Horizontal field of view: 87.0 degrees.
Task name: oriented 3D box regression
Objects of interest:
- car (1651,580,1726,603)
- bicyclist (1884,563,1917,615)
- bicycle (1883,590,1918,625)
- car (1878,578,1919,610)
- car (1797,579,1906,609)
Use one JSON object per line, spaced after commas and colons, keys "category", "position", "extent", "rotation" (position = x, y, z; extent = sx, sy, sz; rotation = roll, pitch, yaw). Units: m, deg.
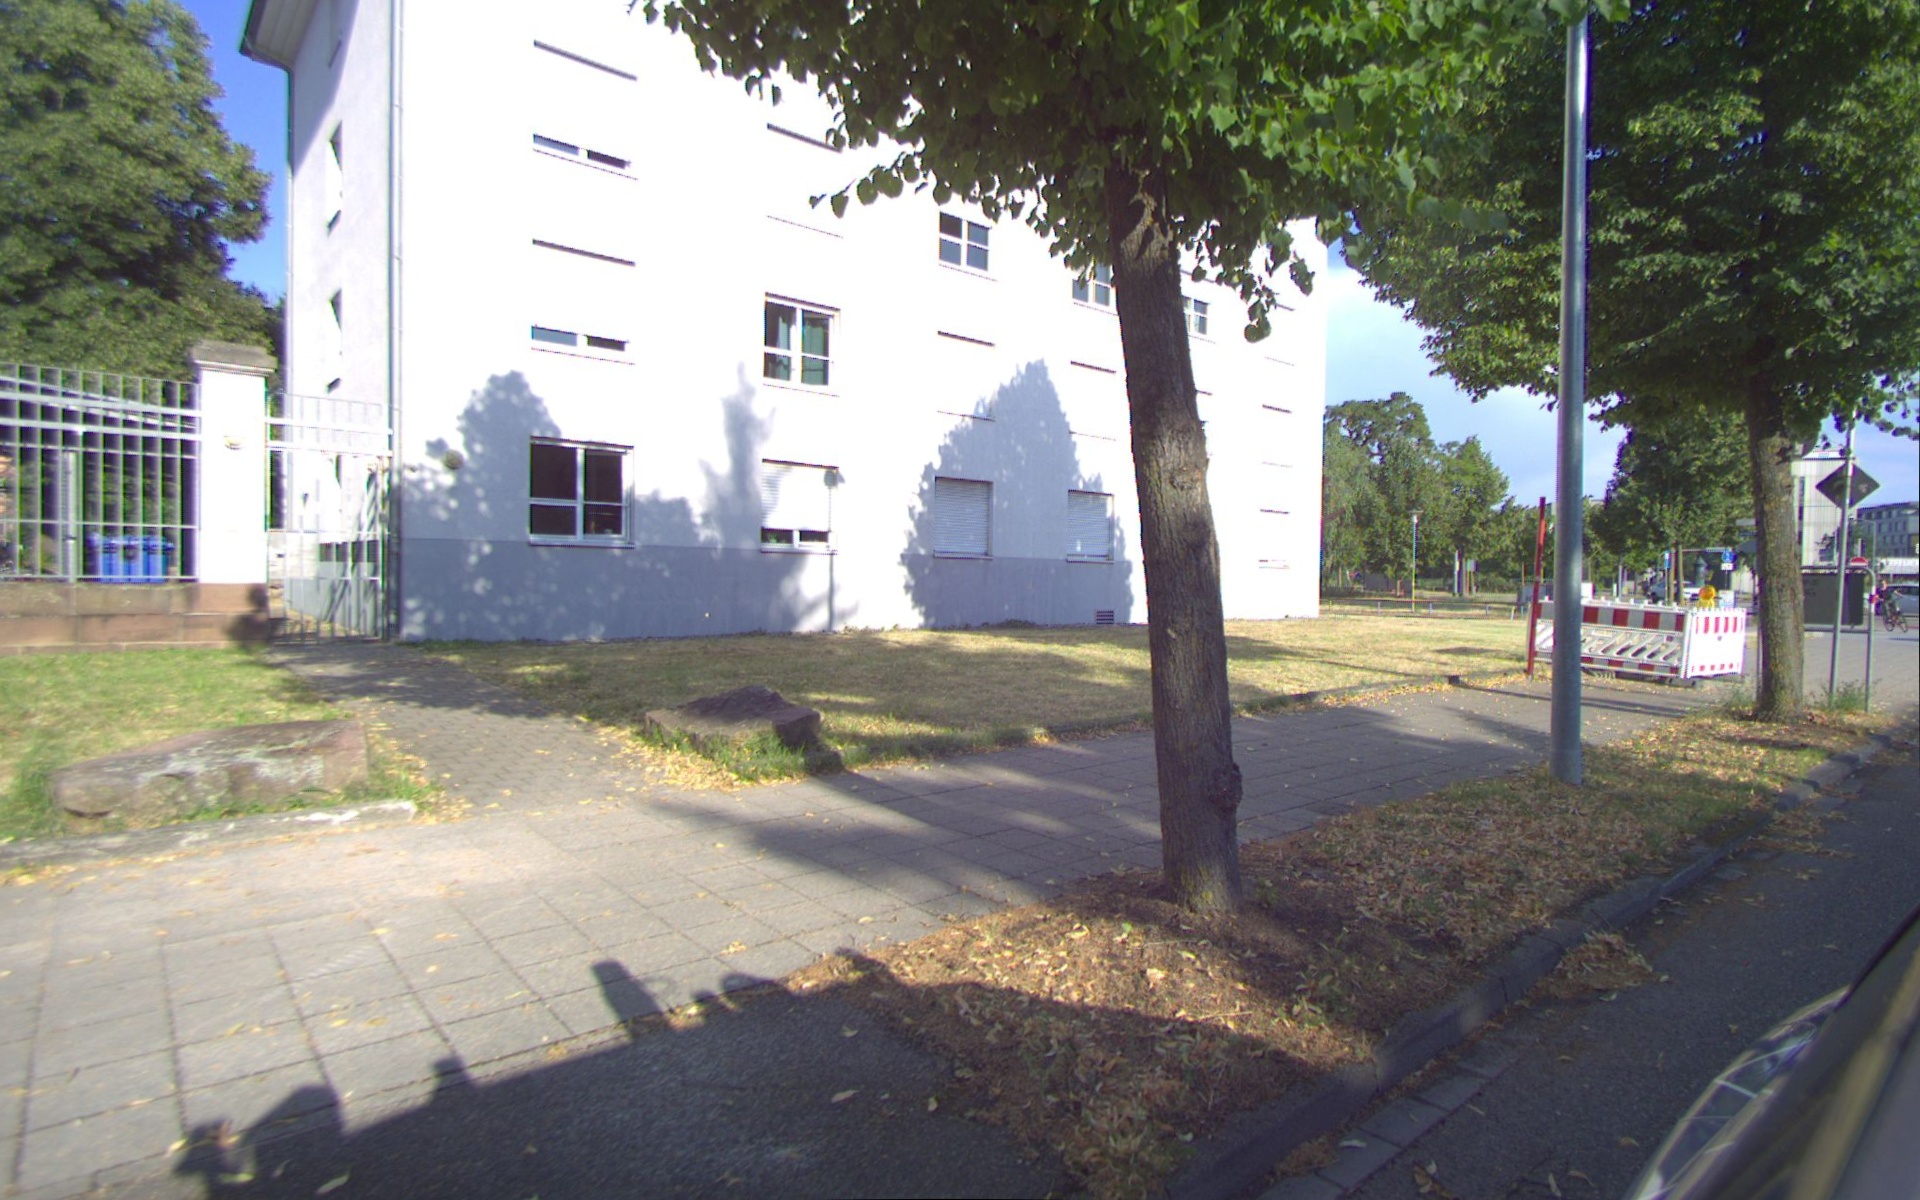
{"category": "car", "position": [48.834, -0.589, 67.941], "extent": [2.058, 1.401, 4.583], "rotation": [1, 2, 6]}
{"category": "bicyclist", "position": [33.315, -0.394, 35.852], "extent": [0.724, 1.823, 0.926], "rotation": [1, 2, 37]}
{"category": "bicycle", "position": [33.286, 0.250, 35.826], "extent": [0.637, 1.137, 2.098], "rotation": [2, 2, 36]}
{"category": "car", "position": [48.299, -0.269, 49.888], "extent": [1.873, 1.570, 4.056], "rotation": [0, 2, -25]}
{"category": "car", "position": [50.051, -0.363, 56.912], "extent": [1.959, 1.549, 4.276], "rotation": [1, 2, -10]}
